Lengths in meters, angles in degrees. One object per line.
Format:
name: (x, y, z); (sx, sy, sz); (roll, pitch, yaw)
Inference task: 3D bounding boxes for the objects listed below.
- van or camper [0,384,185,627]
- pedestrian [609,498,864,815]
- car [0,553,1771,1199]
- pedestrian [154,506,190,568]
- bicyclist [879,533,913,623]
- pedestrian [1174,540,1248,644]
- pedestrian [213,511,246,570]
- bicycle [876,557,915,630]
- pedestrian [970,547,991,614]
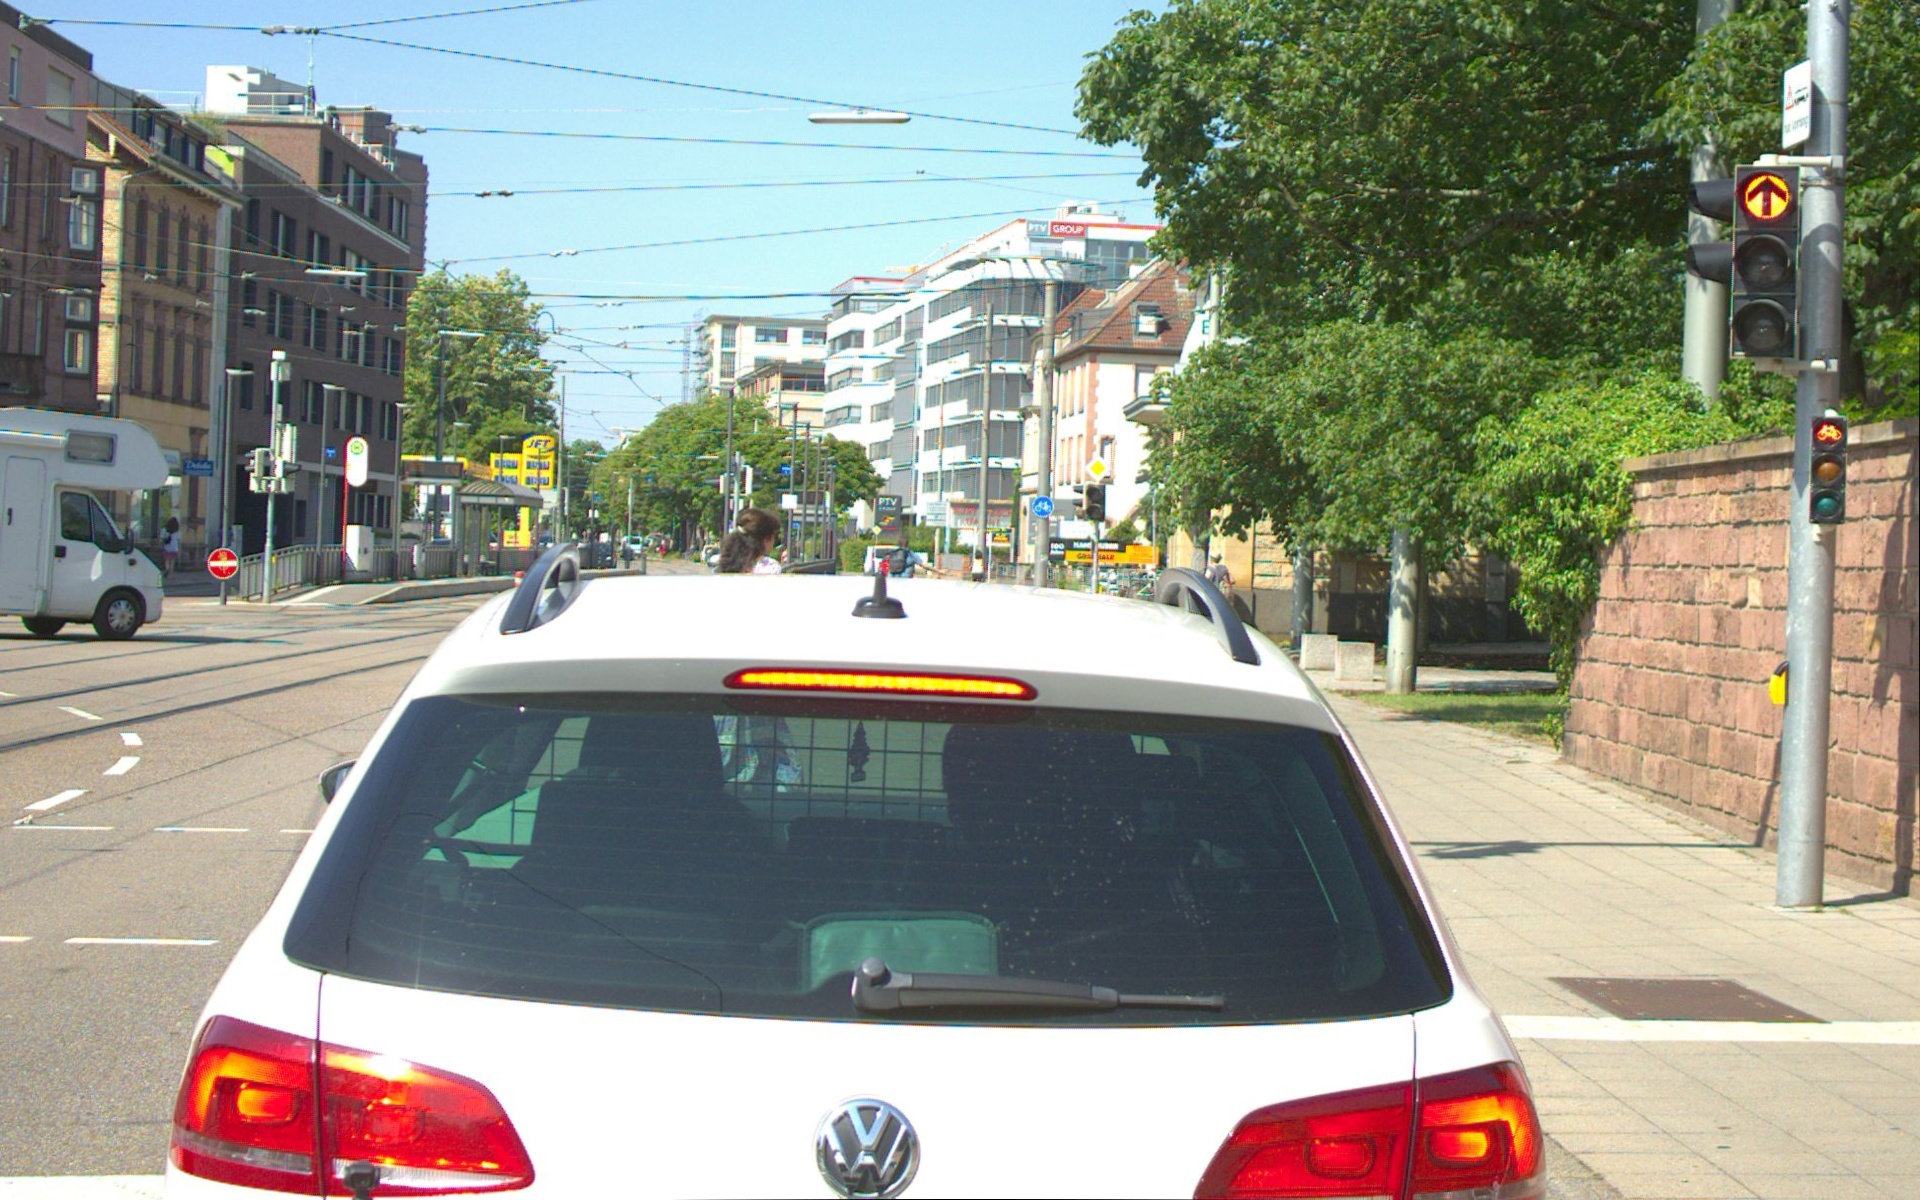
van or camper: (-13.176, -1.208, 44.416); (2.573, 3.082, 5.688); (0, 0, 44)
pedestrian: (-1.203, 0.294, 18.533); (0.955, 1.645, 0.972); (0, 0, 43)
car: (-0.142, 0.683, 5.446); (1.808, 1.443, 4.000); (2, 1, -1)
pedestrian: (-22.148, -1.763, 96.659); (0.861, 1.737, 0.975); (0, 0, -6)
bicyclist: (-1.146, -0.393, 61.622); (0.561, 1.607, 0.638); (0, 0, 2)
pedestrian: (4.237, -0.137, 58.080); (0.861, 1.737, 0.975); (0, 0, -25)
pedestrian: (-21.779, -1.761, 102.471); (0.861, 1.737, 0.975); (0, 0, -6)
bicycle: (-1.147, -0.112, 61.571); (0.558, 1.293, 2.249); (0, 0, 2)
pedestrian: (0.712, -0.671, 118.832); (0.690, 2.317, 1.232); (0, 0, 1)
